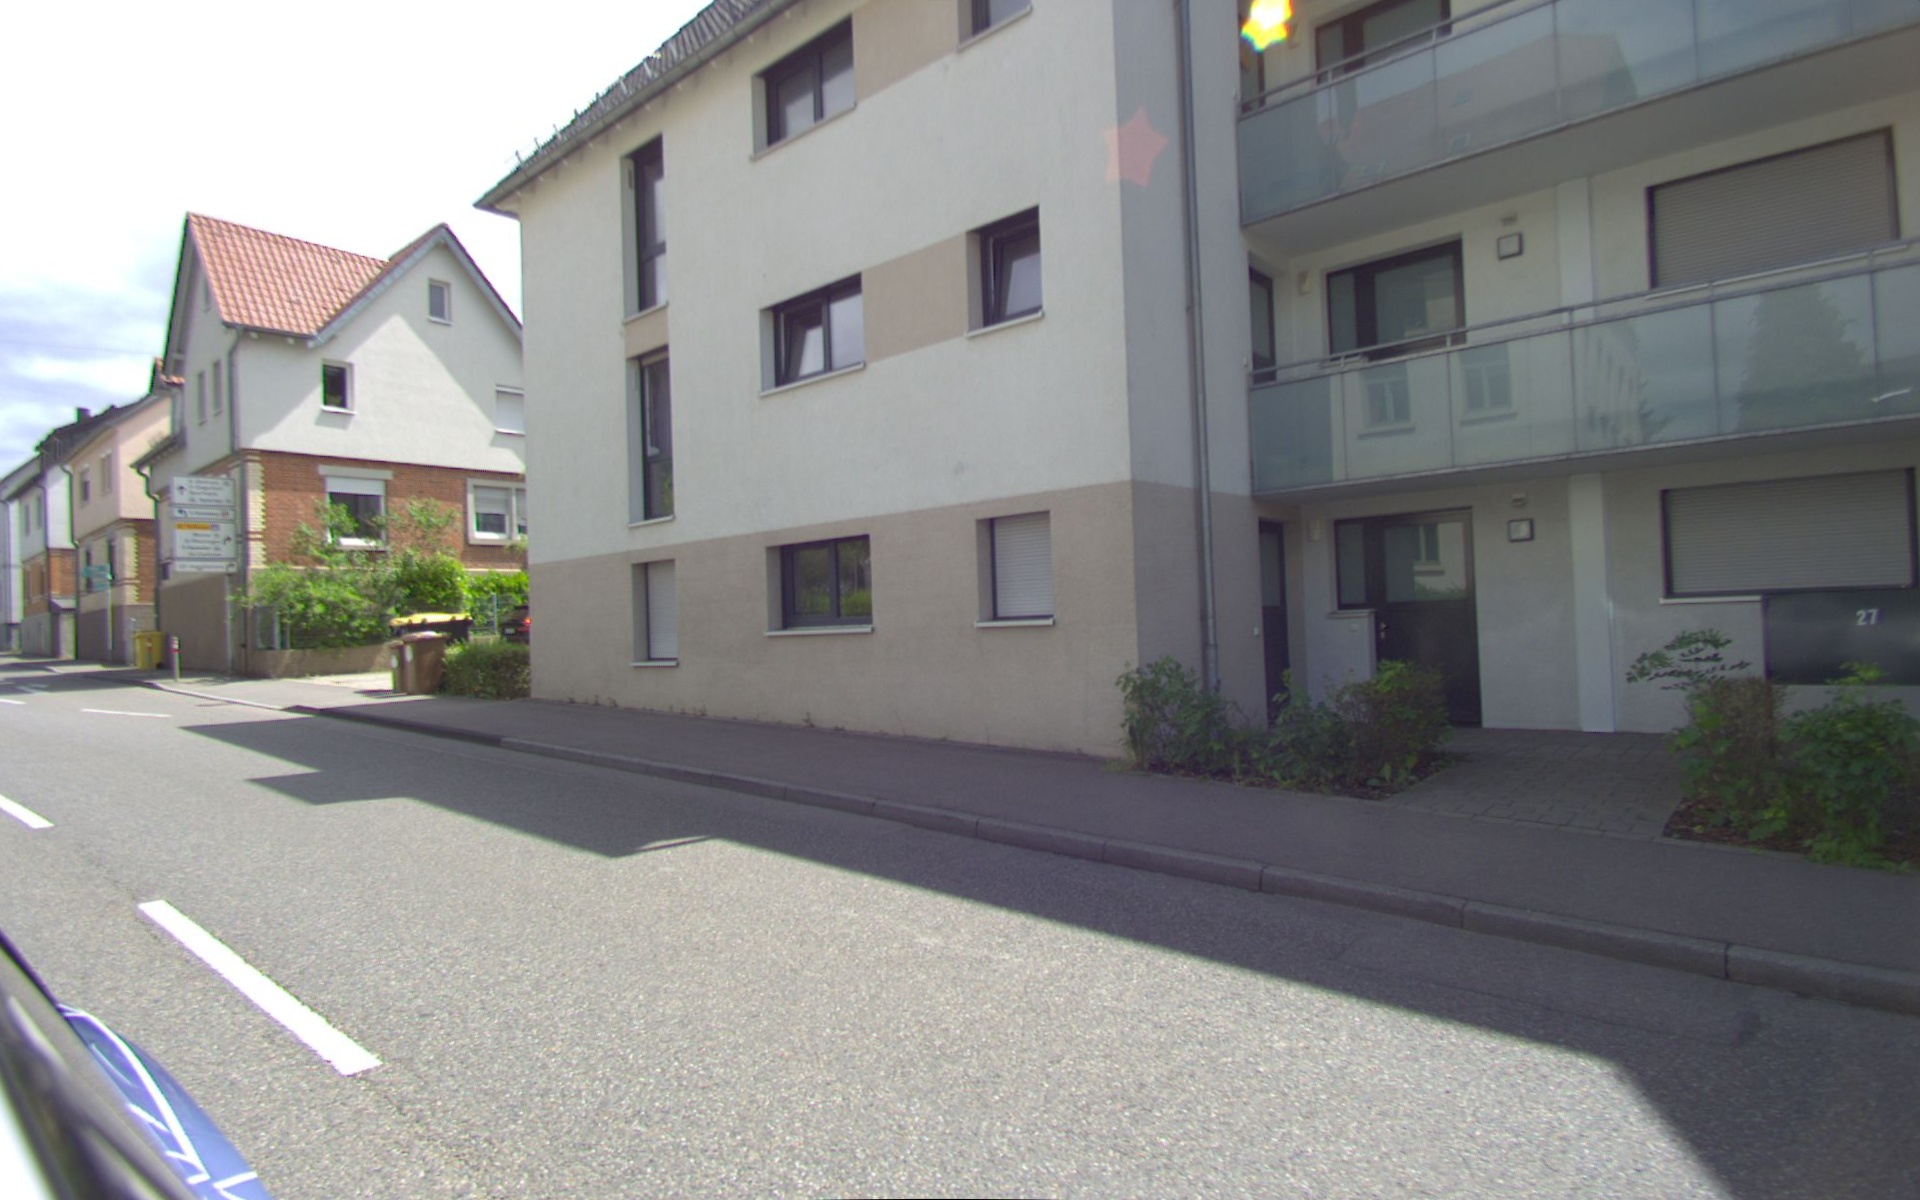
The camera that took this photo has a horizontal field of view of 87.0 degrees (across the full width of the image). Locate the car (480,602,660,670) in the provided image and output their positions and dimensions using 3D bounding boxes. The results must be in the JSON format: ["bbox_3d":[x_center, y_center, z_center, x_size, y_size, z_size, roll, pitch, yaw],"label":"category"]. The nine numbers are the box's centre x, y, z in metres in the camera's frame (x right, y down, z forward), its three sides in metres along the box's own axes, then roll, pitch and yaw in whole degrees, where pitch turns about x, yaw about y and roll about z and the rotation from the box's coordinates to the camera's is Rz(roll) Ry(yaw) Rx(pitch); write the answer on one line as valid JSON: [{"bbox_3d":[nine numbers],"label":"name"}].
[{"bbox_3d":[-10.148,0.883,26.528,1.998,1.586,3.949,-2,0,38],"label":"car"}]

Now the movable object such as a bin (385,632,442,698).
[{"bbox_3d":[-9.360,1.105,17.339,0.659,1.083,0.634,-2,-1,37],"label":"movable object such as a bin"}]

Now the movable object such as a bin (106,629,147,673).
[{"bbox_3d":[-23.303,1.417,28.293,0.802,1.170,0.756,-1,0,41],"label":"movable object such as a bin"}]

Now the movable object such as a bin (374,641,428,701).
[{"bbox_3d":[-9.873,1.247,17.885,0.656,1.008,0.634,-2,-1,39],"label":"movable object such as a bin"}]

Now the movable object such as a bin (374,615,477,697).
[{"bbox_3d":[-9.982,1.017,18.931,1.168,1.457,1.322,-2,-1,36],"label":"movable object such as a bin"}]
